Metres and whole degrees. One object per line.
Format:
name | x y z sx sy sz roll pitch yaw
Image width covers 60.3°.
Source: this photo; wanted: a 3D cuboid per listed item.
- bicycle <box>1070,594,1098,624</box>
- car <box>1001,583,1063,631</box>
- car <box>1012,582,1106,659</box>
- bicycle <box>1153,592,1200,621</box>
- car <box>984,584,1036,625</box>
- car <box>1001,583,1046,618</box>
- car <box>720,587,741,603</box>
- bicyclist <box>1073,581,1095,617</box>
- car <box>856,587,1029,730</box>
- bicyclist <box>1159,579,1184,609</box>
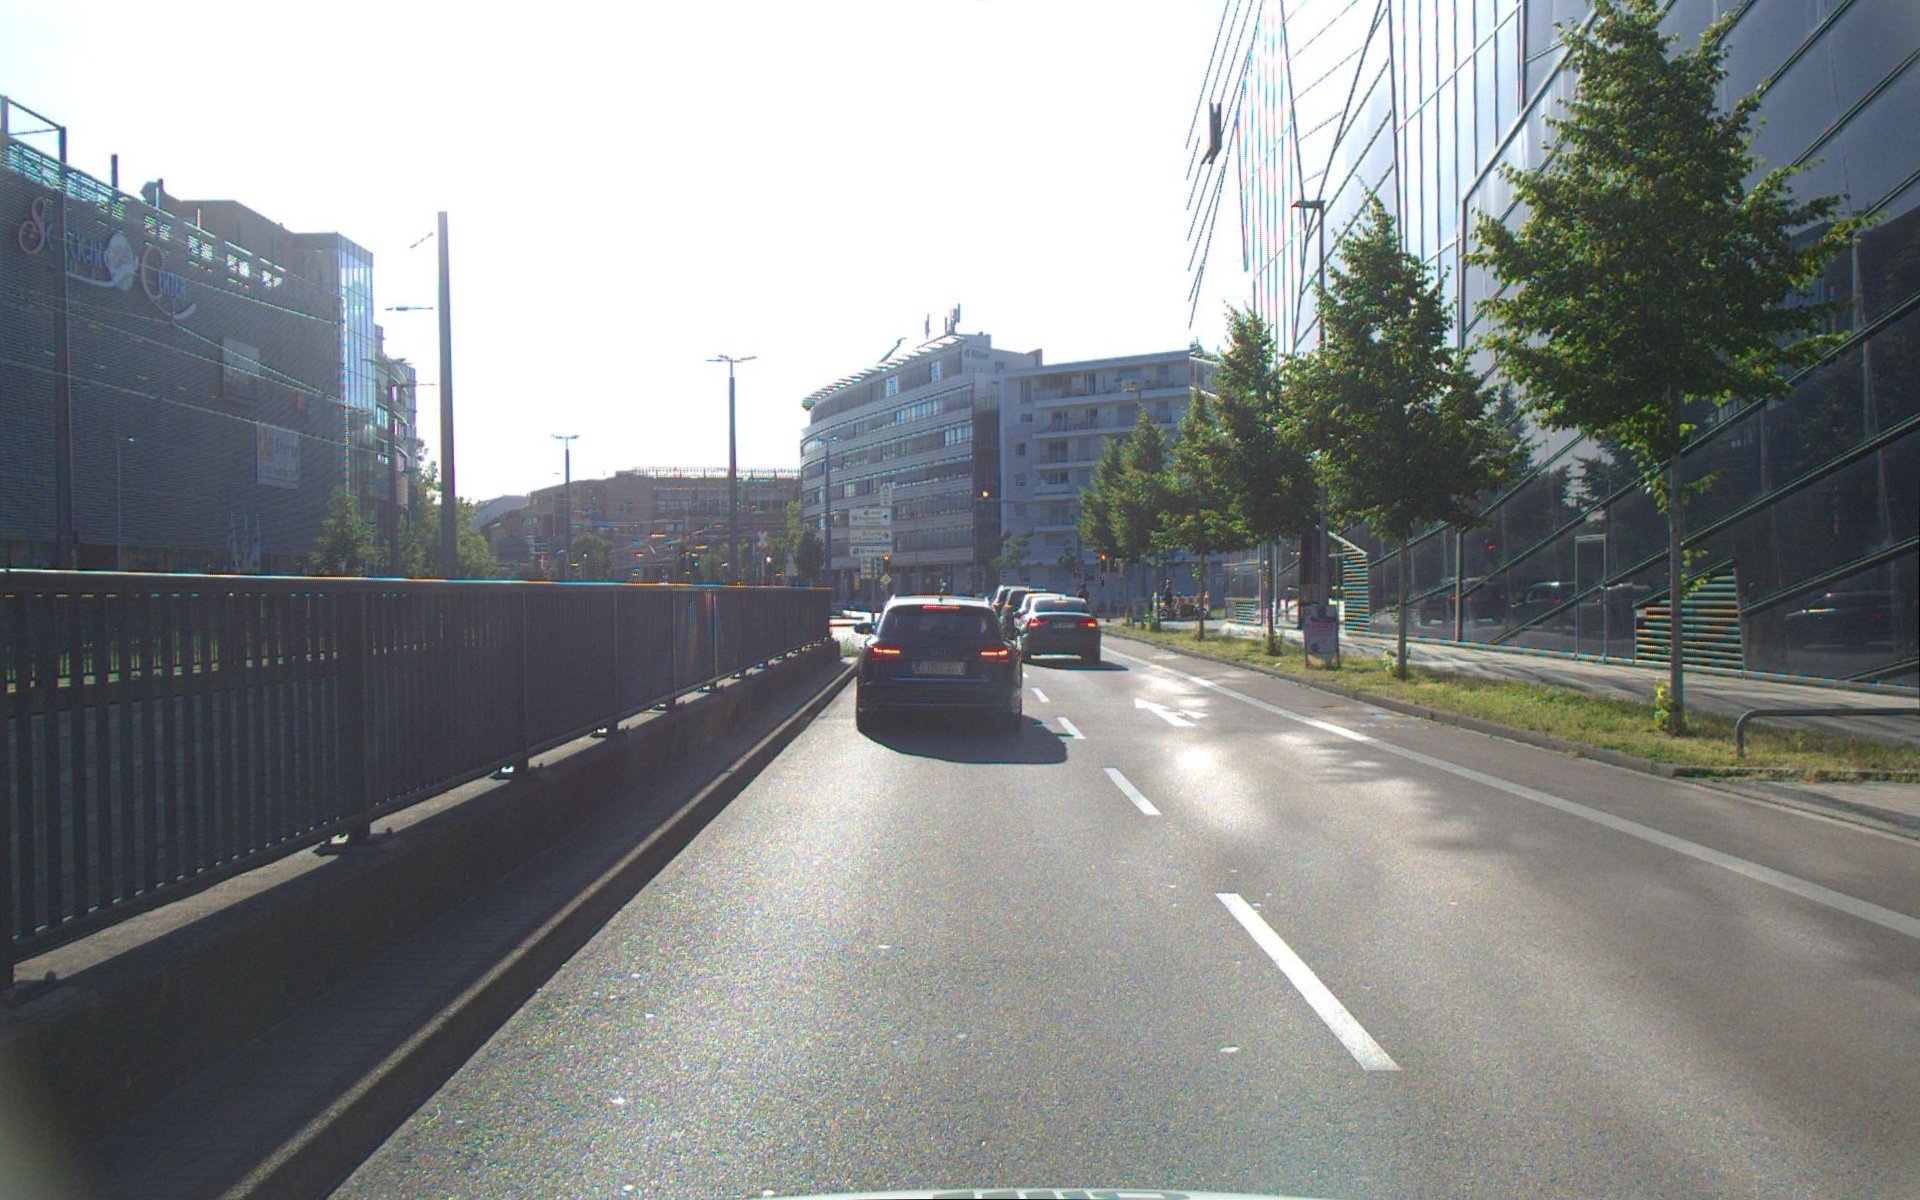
bicycle | 5.214 0.376 69.603 0.710 1.204 2.090 -2 0 -7
car | 2.365 0.207 55.038 1.952 1.491 4.001 0 1 1
car | 2.115 0.402 36.277 1.815 1.573 4.000 1 1 0
bicycle | 9.747 0.276 74.497 2.043 1.204 0.727 -2 0 4
car | 1.931 0.146 64.333 1.952 1.491 4.001 0 1 1
car | 2.865 -0.014 75.673 1.952 1.491 4.001 0 1 1
car | -26.741 -0.620 192.653 1.954 1.780 3.998 -2 1 -3
bicyclist | 5.216 -0.046 69.601 0.710 1.443 0.890 -2 0 -7
car | -0.227 0.597 19.480 1.775 1.452 4.688 -1 0 -1
bicyclist | 9.521 -0.267 74.496 1.011 1.291 0.727 -2 0 4
